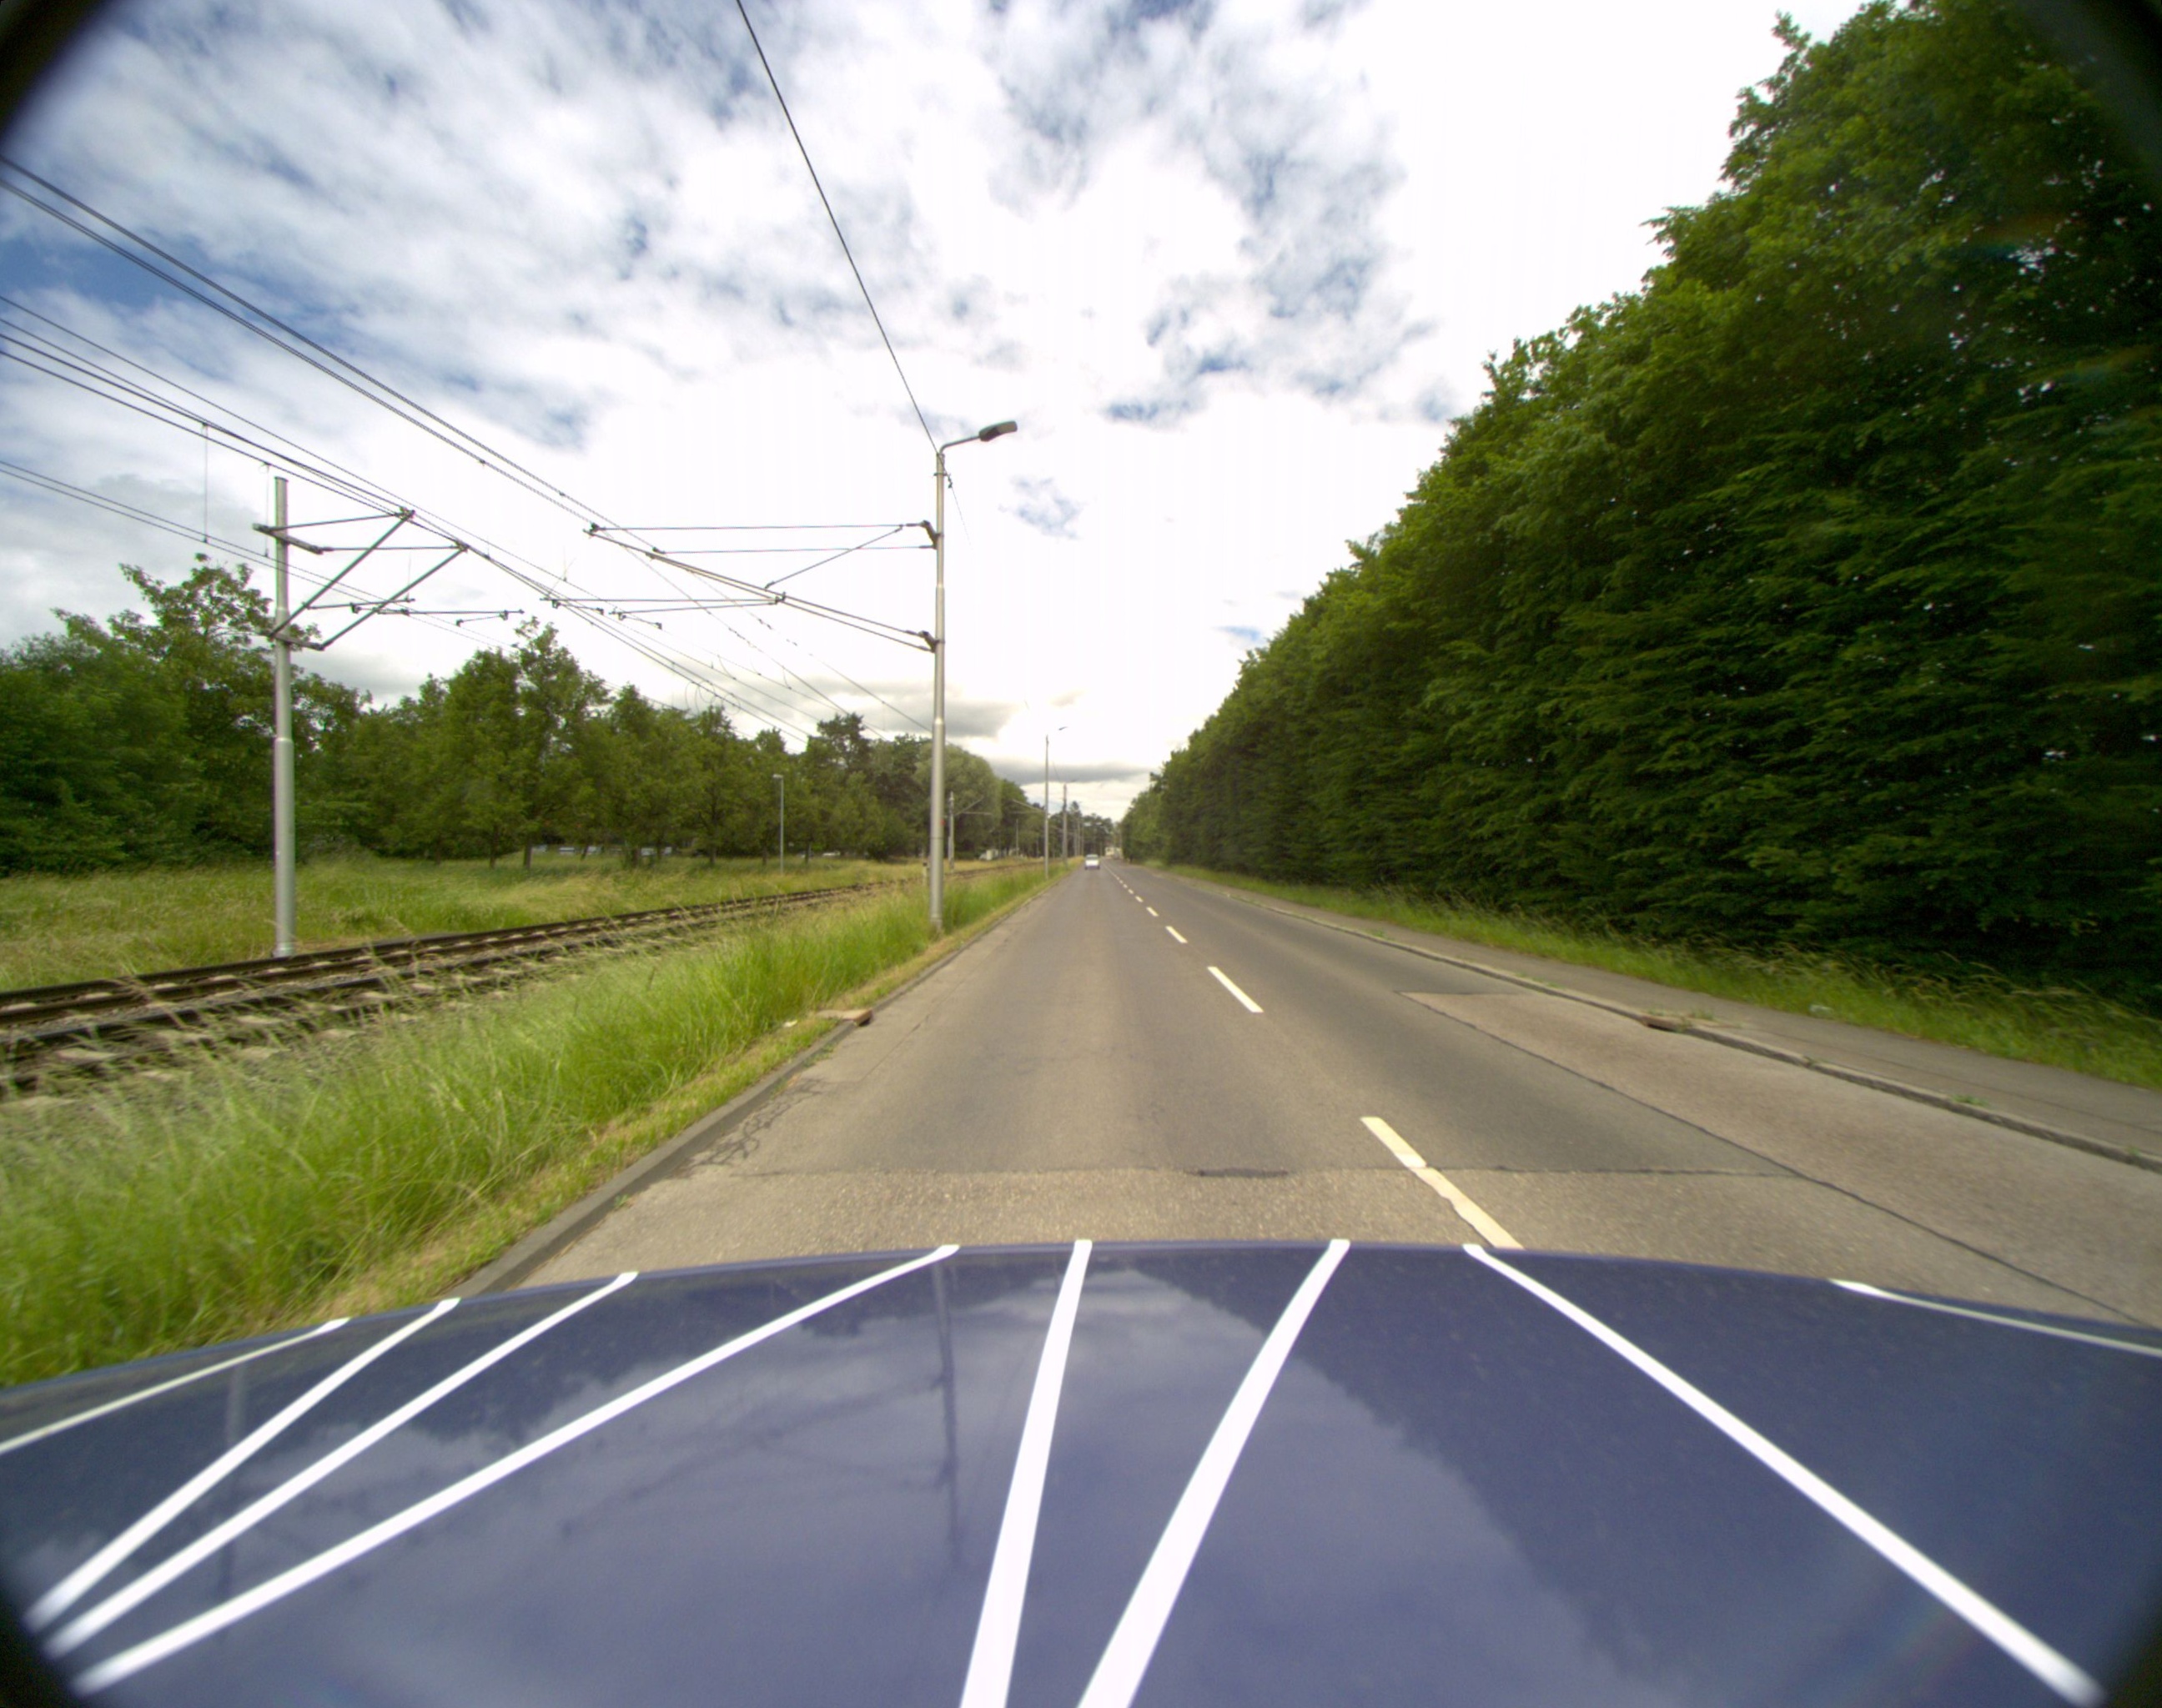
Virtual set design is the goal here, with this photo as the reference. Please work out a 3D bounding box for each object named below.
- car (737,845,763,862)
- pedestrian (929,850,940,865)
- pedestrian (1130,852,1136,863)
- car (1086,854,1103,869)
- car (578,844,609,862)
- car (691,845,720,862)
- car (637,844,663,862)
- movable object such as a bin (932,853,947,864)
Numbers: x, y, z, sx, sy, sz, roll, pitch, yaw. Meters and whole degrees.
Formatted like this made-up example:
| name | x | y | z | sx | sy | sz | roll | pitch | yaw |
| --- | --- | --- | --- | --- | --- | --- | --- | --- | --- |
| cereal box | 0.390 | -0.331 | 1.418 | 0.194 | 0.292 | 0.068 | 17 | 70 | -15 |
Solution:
| name | x | y | z | sx | sy | sz | roll | pitch | yaw |
| --- | --- | --- | --- | --- | --- | --- | --- | --- | --- |
| car | -35.288 | -0.077 | 81.031 | 1.750 | 1.793 | 3.996 | 0 | 0 | -11 |
| pedestrian | -16.991 | 0.396 | 88.129 | 0.656 | 1.657 | 0.960 | 1 | 2 | 42 |
| pedestrian | 8.584 | 0.609 | 126.414 | 0.870 | 1.759 | 0.789 | 1 | 1 | -6 |
| car | 1.507 | 0.846 | 86.118 | 1.734 | 1.639 | 4.226 | -1 | -1 | 0 |
| car | -50.189 | -0.141 | 78.283 | 2.002 | 1.801 | 3.992 | 0 | 1 | -24 |
| car | -39.974 | -0.084 | 80.992 | 1.750 | 1.793 | 3.996 | 0 | 0 | -11 |
| car | -45.448 | -0.125 | 80.202 | 2.002 | 1.801 | 3.992 | 0 | 1 | -24 |
| movable object such as a bin | -16.423 | 0.528 | 88.365 | 0.658 | 1.303 | 1.646 | 1 | 2 | 42 |
